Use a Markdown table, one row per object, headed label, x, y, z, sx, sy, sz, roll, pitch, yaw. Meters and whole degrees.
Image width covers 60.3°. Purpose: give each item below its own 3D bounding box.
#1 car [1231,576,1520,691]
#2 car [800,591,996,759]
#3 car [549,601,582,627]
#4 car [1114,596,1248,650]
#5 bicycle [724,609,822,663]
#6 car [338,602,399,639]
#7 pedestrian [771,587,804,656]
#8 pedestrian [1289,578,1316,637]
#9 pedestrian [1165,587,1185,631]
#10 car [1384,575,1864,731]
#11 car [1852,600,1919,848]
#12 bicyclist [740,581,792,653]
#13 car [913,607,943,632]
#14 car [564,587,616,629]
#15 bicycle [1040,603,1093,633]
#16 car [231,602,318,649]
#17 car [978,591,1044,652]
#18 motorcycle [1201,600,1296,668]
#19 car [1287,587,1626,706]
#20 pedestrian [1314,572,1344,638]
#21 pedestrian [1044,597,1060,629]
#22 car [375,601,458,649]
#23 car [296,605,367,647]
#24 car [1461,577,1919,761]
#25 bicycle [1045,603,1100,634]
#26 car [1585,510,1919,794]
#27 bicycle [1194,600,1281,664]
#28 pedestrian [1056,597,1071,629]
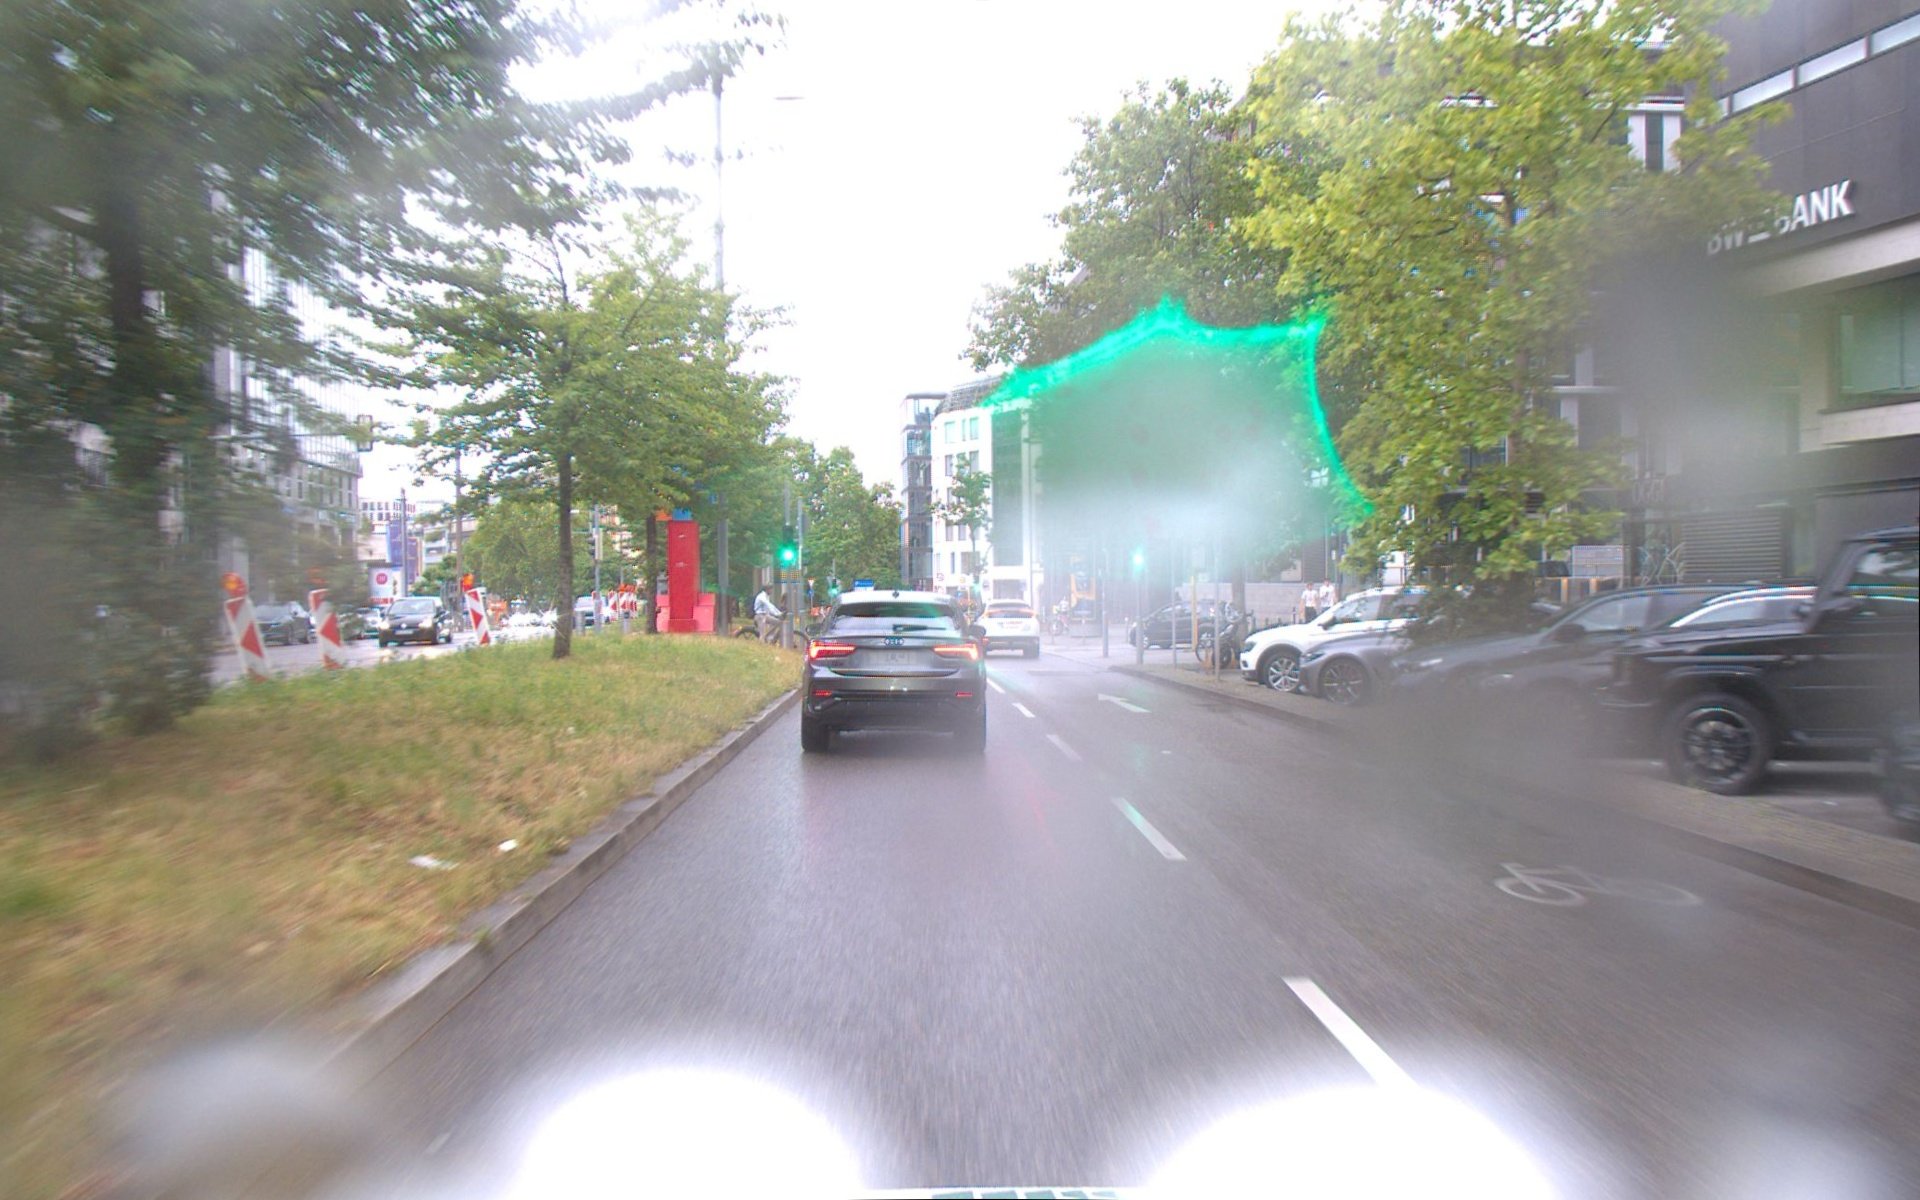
| label | x | y | z | sx | sy | sz | roll | pitch | yaw |
| --- | --- | --- | --- | --- | --- | --- | --- | --- | --- |
| car | 6.586 | 0.529 | 26.275 | 4.135 | 1.698 | 1.837 | -1 | 0 | 27 |
| car | -0.598 | 0.681 | 17.288 | 1.812 | 1.550 | 4.038 | 0 | 0 | -1 |
| car | -26.472 | 0.909 | 111.032 | 1.700 | 1.585 | 3.994 | -2 | 1 | -7 |
| car | 6.728 | 0.695 | 50.466 | 3.794 | 1.595 | 1.658 | 0 | -1 | 42 |
| bicycle | -4.448 | 0.852 | 39.506 | 2.209 | 1.182 | 0.750 | 2 | -1 | -1 |
| car | -25.549 | 0.892 | 71.550 | 1.693 | 1.477 | 3.587 | -2 | 0 | -7 |
| pedestrian | -4.605 | 0.582 | 44.118 | 0.647 | 1.825 | 0.751 | 0 | -1 | 12 |
| pedestrian | 11.350 | 0.246 | 54.795 | 0.848 | 1.937 | 0.886 | 0 | -1 | 11 |
| pedestrian | 10.681 | 0.464 | 82.189 | 0.916 | 2.152 | 1.076 | 0 | -1 | 11 |
| car | 7.119 | 0.577 | 18.269 | 4.673 | 1.560 | 1.871 | -1 | 0 | 14 |
| car | 7.648 | 0.665 | 9.340 | 4.534 | 1.419 | 1.845 | -1 | -1 | 28 |
| bicyclist | -4.633 | 0.414 | 39.513 | 1.082 | 1.650 | 0.750 | 3 | -1 | -1 |
| car | -1.993 | 1.218 | 104.668 | 1.811 | 1.550 | 4.038 | 0 | 0 | 0 |
| car | -17.319 | 0.361 | 77.596 | 1.956 | 1.858 | 3.994 | -2 | 1 | -7 |
| bicycle | 4.759 | 0.808 | 73.929 | 2.293 | 1.335 | 0.708 | 0 | 0 | -8 |
| car | -24.153 | 0.881 | 58.397 | 1.840 | 1.563 | 4.069 | -2 | 0 | -8 |
| car | 1.470 | 0.611 | 48.871 | 1.811 | 1.698 | 4.038 | 0 | 0 | 0 |
| motorcycle | 6.244 | 0.726 | 35.871 | 1.985 | 1.440 | 0.726 | 0 | -1 | 8 |
| car | 6.901 | 0.637 | 23.063 | 4.212 | 1.515 | 1.840 | -1 | 0 | 29 |
| pedestrian | 12.212 | 0.169 | 54.732 | 0.916 | 2.152 | 1.076 | 0 | -1 | 11 |
| pedestrian | 5.996 | 0.829 | 107.862 | 0.838 | 2.049 | 0.975 | 1 | -1 | -6 |
| car | -16.891 | 0.752 | 51.555 | 1.772 | 1.333 | 3.992 | -2 | 1 | -9 |
| car | -25.013 | 1.014 | 65.973 | 1.775 | 1.575 | 3.992 | -2 | 0 | -8 |
| car | 7.070 | 0.602 | 15.282 | 4.462 | 1.533 | 1.868 | -1 | 0 | 24 |
| bicycle | 4.880 | 0.818 | 72.027 | 2.293 | 1.335 | 0.708 | 0 | 0 | -8 |
| car | 7.395 | 0.352 | 12.478 | 4.839 | 2.013 | 1.928 | -1 | 0 | 26 |
| bicycle | 6.361 | 0.733 | 38.000 | 1.940 | 1.440 | 0.726 | 0 | -1 | 8 |
| pedestrian | 6.662 | 0.821 | 106.716 | 0.838 | 2.049 | 0.975 | 1 | -1 | -6 |
